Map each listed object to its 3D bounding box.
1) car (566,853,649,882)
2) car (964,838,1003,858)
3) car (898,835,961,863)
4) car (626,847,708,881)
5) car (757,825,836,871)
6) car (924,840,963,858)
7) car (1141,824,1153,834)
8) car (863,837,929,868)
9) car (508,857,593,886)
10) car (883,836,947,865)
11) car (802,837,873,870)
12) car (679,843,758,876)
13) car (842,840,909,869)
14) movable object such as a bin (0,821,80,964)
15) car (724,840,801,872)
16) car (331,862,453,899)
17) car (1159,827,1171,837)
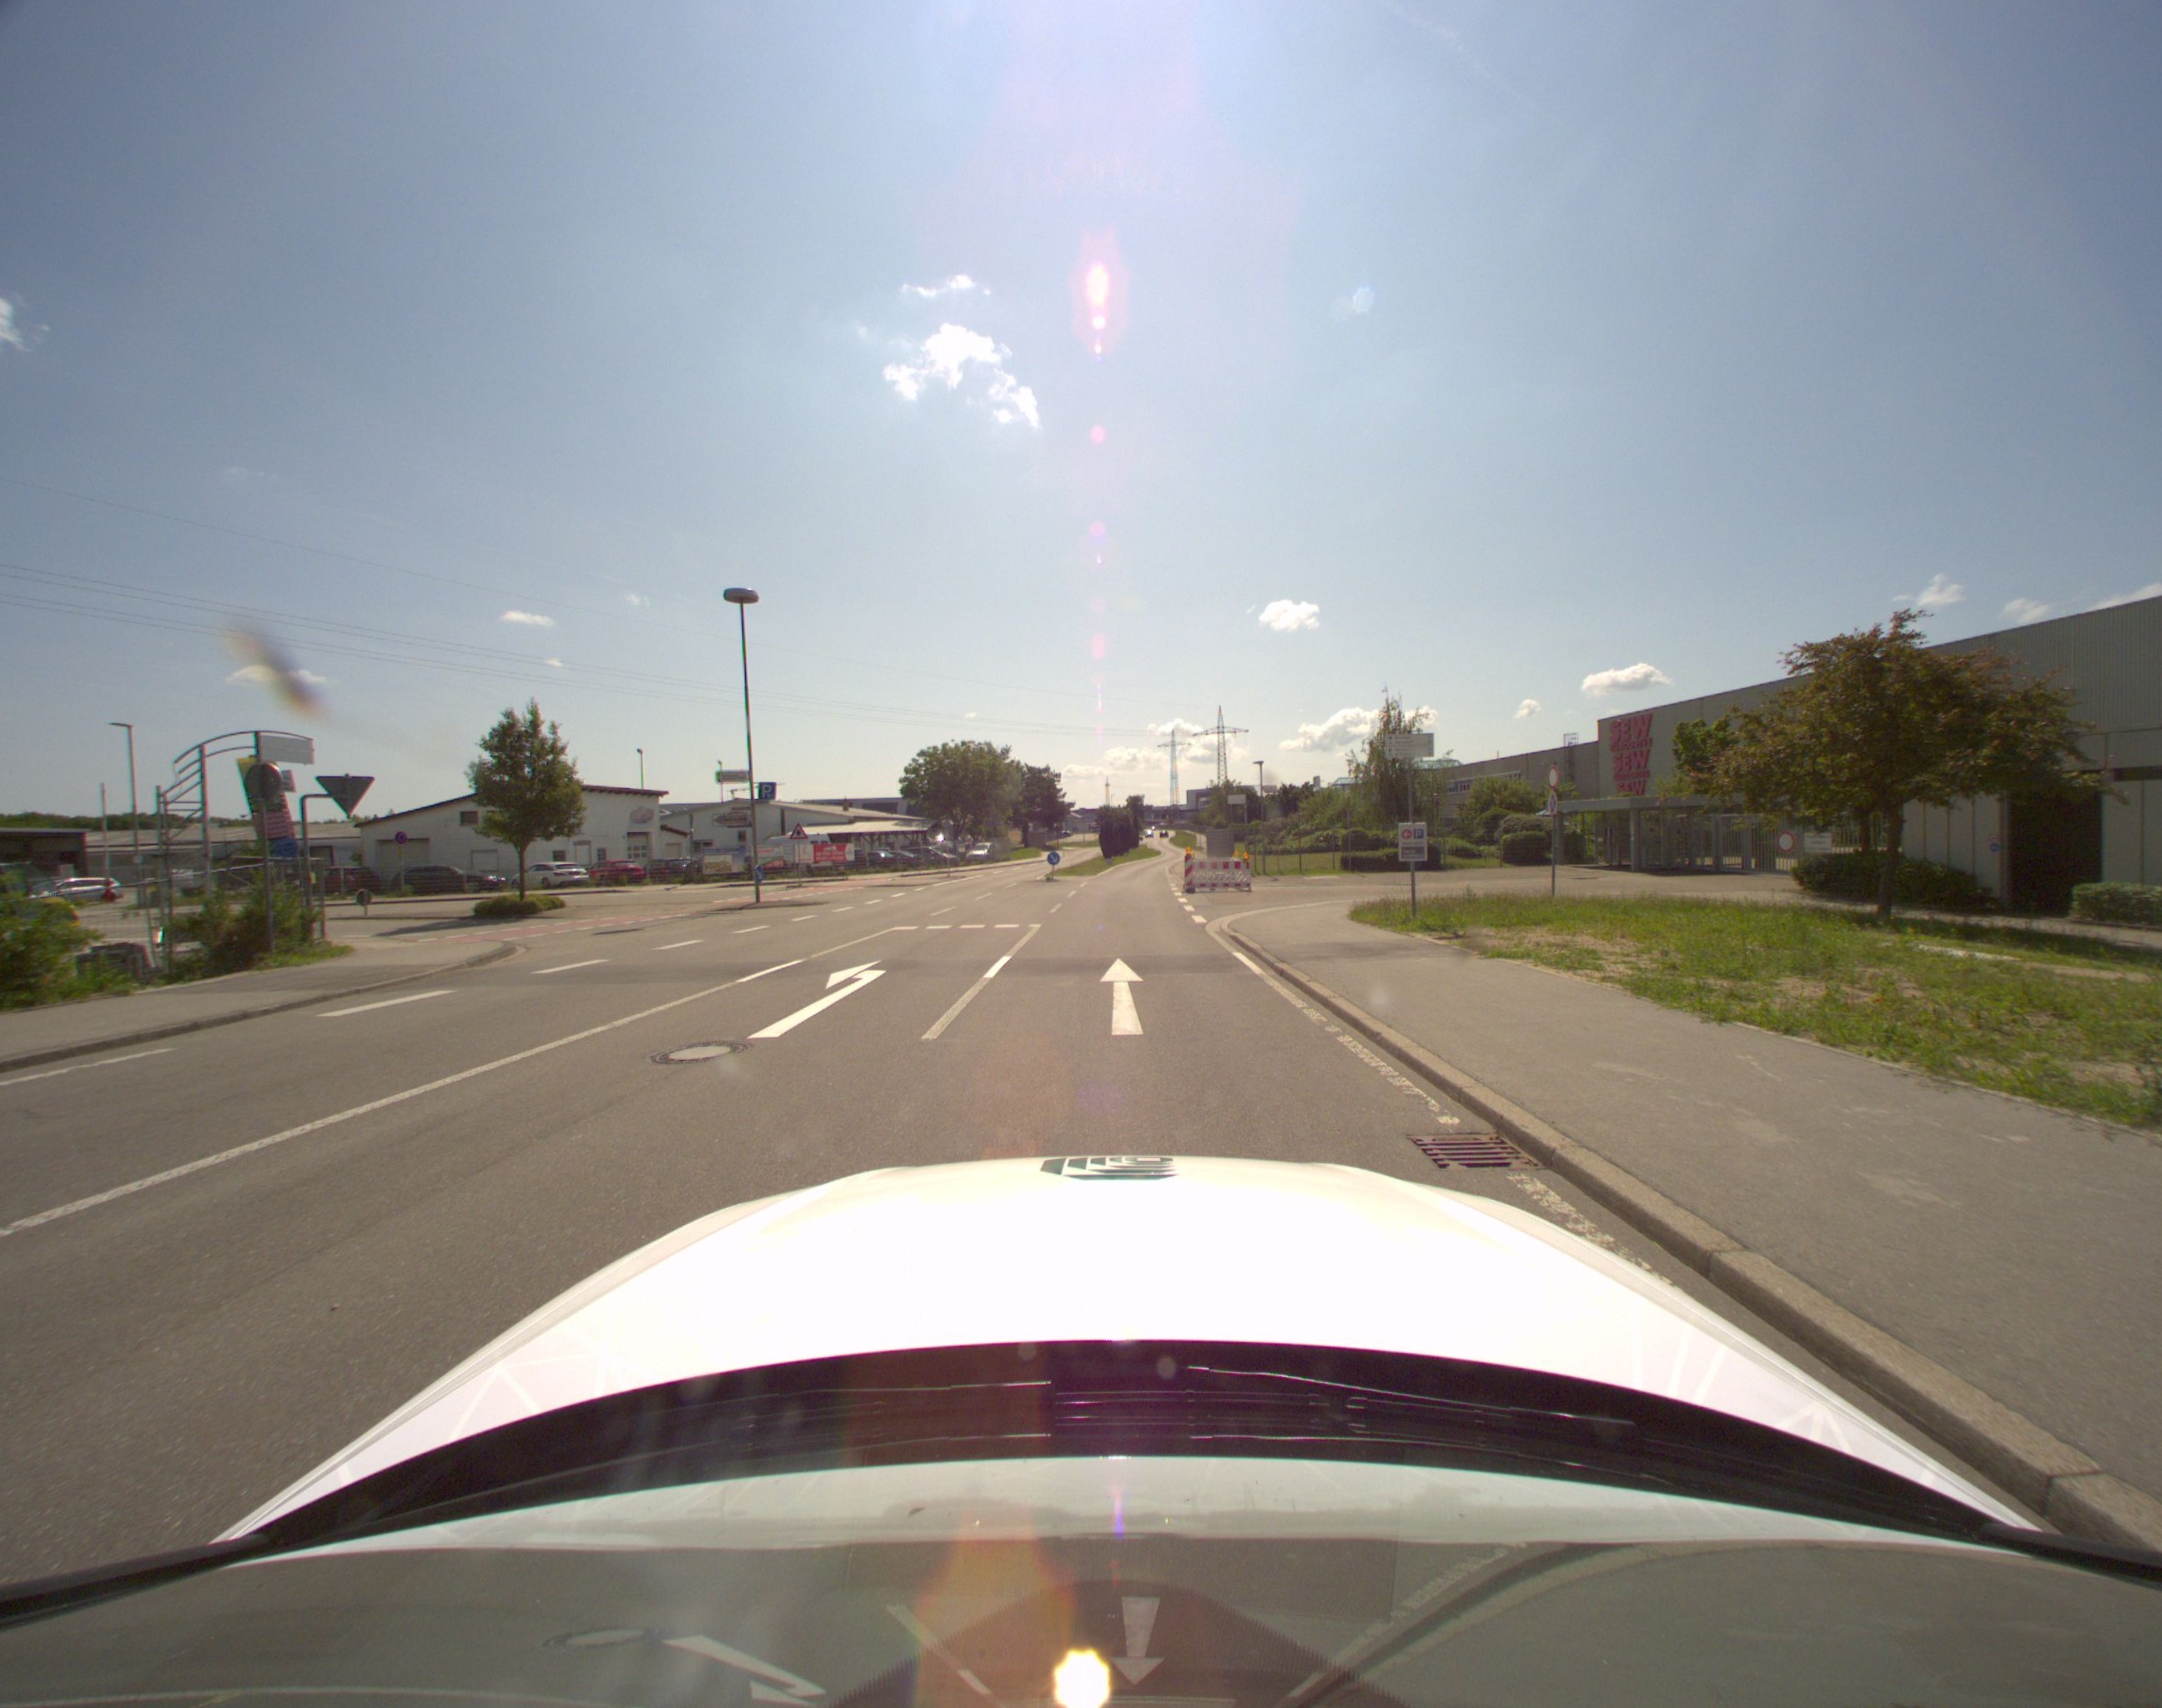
[{"bbox_3d":[-24.092,0.680,41.392,3.948,1.376,2.013,-1,0,32],"label":"car"},{"bbox_3d":[-7.913,-0.493,66.083,1.814,1.517,3.604,-1,1,16],"label":"car"},{"bbox_3d":[-10.995,-0.358,59.114,3.952,1.903,2.011,0,3,23],"label":"car"},{"bbox_3d":[-21.738,0.484,42.740,3.948,1.653,2.013,0,3,32],"label":"car"},{"bbox_3d":[-16.872,-0.351,48.318,4.309,2.608,2.013,-1,0,30],"label":"car"},{"bbox_3d":[-14.564,-0.533,86.546,3.986,1.850,1.829,-2,1,-10],"label":"car"},{"bbox_3d":[14.729,-5.557,181.980,2.479,2.013,4.673,-1,2,5],"label":"car"},{"bbox_3d":[-12.482,-0.118,54.930,3.949,1.903,2.013,0,3,28],"label":"car"},{"bbox_3d":[-26.078,0.861,40.039,3.882,1.338,1.736,-1,0,27],"label":"car"},{"bbox_3d":[-11.613,-0.227,56.986,3.951,1.903,2.012,0,3,25],"label":"car"},{"bbox_3d":[-15.036,-0.044,50.261,3.948,1.903,2.013,0,3,33],"label":"car"},{"bbox_3d":[-19.857,0.255,44.565,3.948,1.679,2.013,0,3,32],"label":"car"},{"bbox_3d":[-13.303,0.002,52.671,3.948,1.780,2.013,0,3,33],"label":"car"},{"bbox_3d":[-21.232,0.718,13.798,2.073,2.698,5.717,-1,-1,-9],"label":"movable object such as a bin"},{"bbox_3d":[-18.077,0.089,46.166,3.949,1.653,2.013,0,3,31],"label":"car"},{"bbox_3d":[-32.672,1.249,38.706,3.976,1.513,1.999,-1,2,-2],"label":"car"},{"bbox_3d":[17.520,-4.646,169.529,2.262,1.946,4.670,1,1,4],"label":"car"}]
